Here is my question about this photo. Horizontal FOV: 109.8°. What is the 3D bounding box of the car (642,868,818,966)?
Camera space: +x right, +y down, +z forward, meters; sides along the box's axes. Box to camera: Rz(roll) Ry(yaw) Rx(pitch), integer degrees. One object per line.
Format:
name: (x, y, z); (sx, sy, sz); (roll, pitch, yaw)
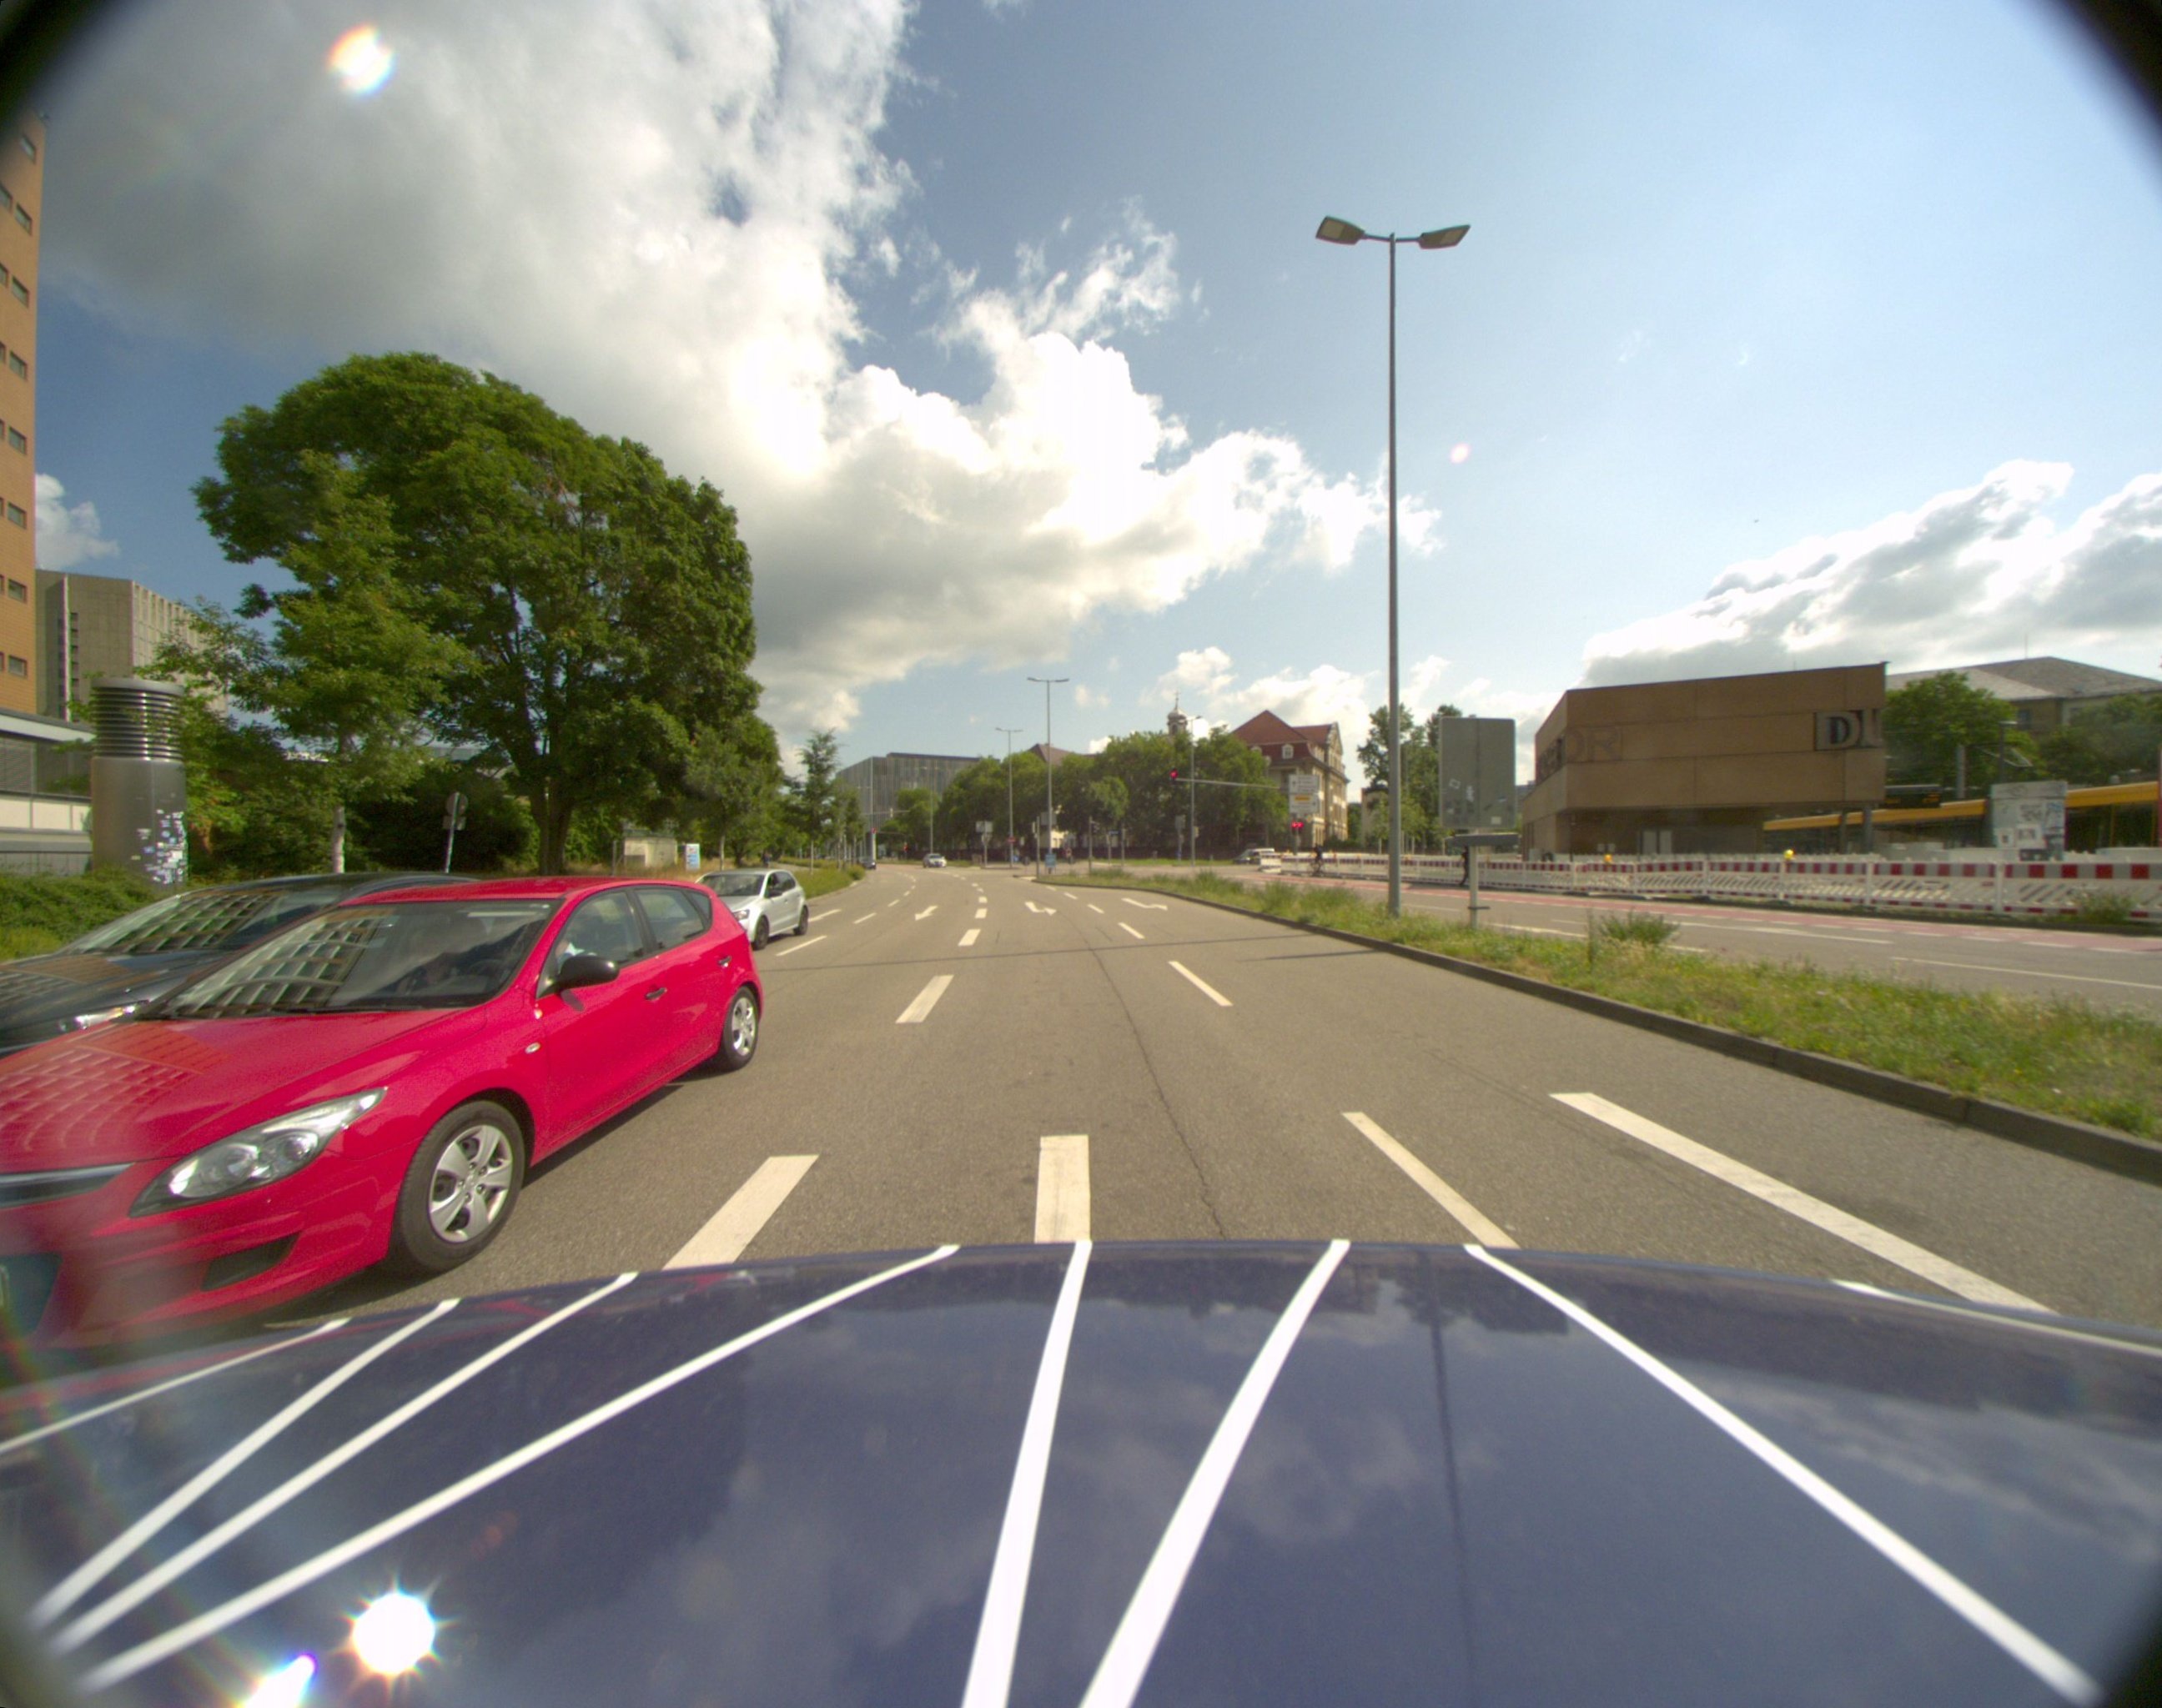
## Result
car: (-6.357, 1.050, 14.293); (1.588, 1.377, 4.076); (-2, 1, -4)

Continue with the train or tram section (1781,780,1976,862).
train or tram section: (39.329, -1.592, 38.122); (3.316, 3.461, 10.624); (-1, 1, 27)

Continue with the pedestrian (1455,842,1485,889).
pedestrian: (15.091, 0.435, 29.485); (0.653, 1.754, 1.001); (-1, 1, -2)

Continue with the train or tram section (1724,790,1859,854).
train or tram section: (44.123, -1.965, 47.693); (3.316, 3.461, 10.624); (-1, 1, 27)

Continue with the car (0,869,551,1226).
car: (-6.112, 0.999, 5.497); (1.646, 1.567, 4.210); (-2, 1, -2)

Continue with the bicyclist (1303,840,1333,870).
bicyclist: (12.626, 0.069, 40.516); (0.778, 1.554, 1.774); (-1, 1, -12)

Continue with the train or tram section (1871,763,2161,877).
train or tram section: (34.553, -1.221, 28.584); (3.316, 3.461, 10.624); (-1, 1, 27)

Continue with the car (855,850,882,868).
car: (-22.120, 0.461, 78.955); (2.002, 1.745, 3.992); (-3, 1, -24)

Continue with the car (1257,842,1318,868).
car: (14.431, 0.069, 52.988); (3.991, 1.772, 2.003); (0, 1, 19)

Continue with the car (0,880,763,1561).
car: (-3.249, 1.002, 3.865); (1.646, 1.459, 4.063); (-2, 1, -3)

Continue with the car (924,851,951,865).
car: (-15.410, 0.406, 81.560); (1.834, 1.516, 3.991); (-1, 1, -27)

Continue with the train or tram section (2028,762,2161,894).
train or tram section: (29.778, -0.727, 19.131); (3.316, 3.461, 10.624); (-1, 1, 27)

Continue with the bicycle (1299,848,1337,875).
bicycle: (12.617, 0.394, 40.512); (0.973, 1.402, 2.291); (-1, 1, -11)
